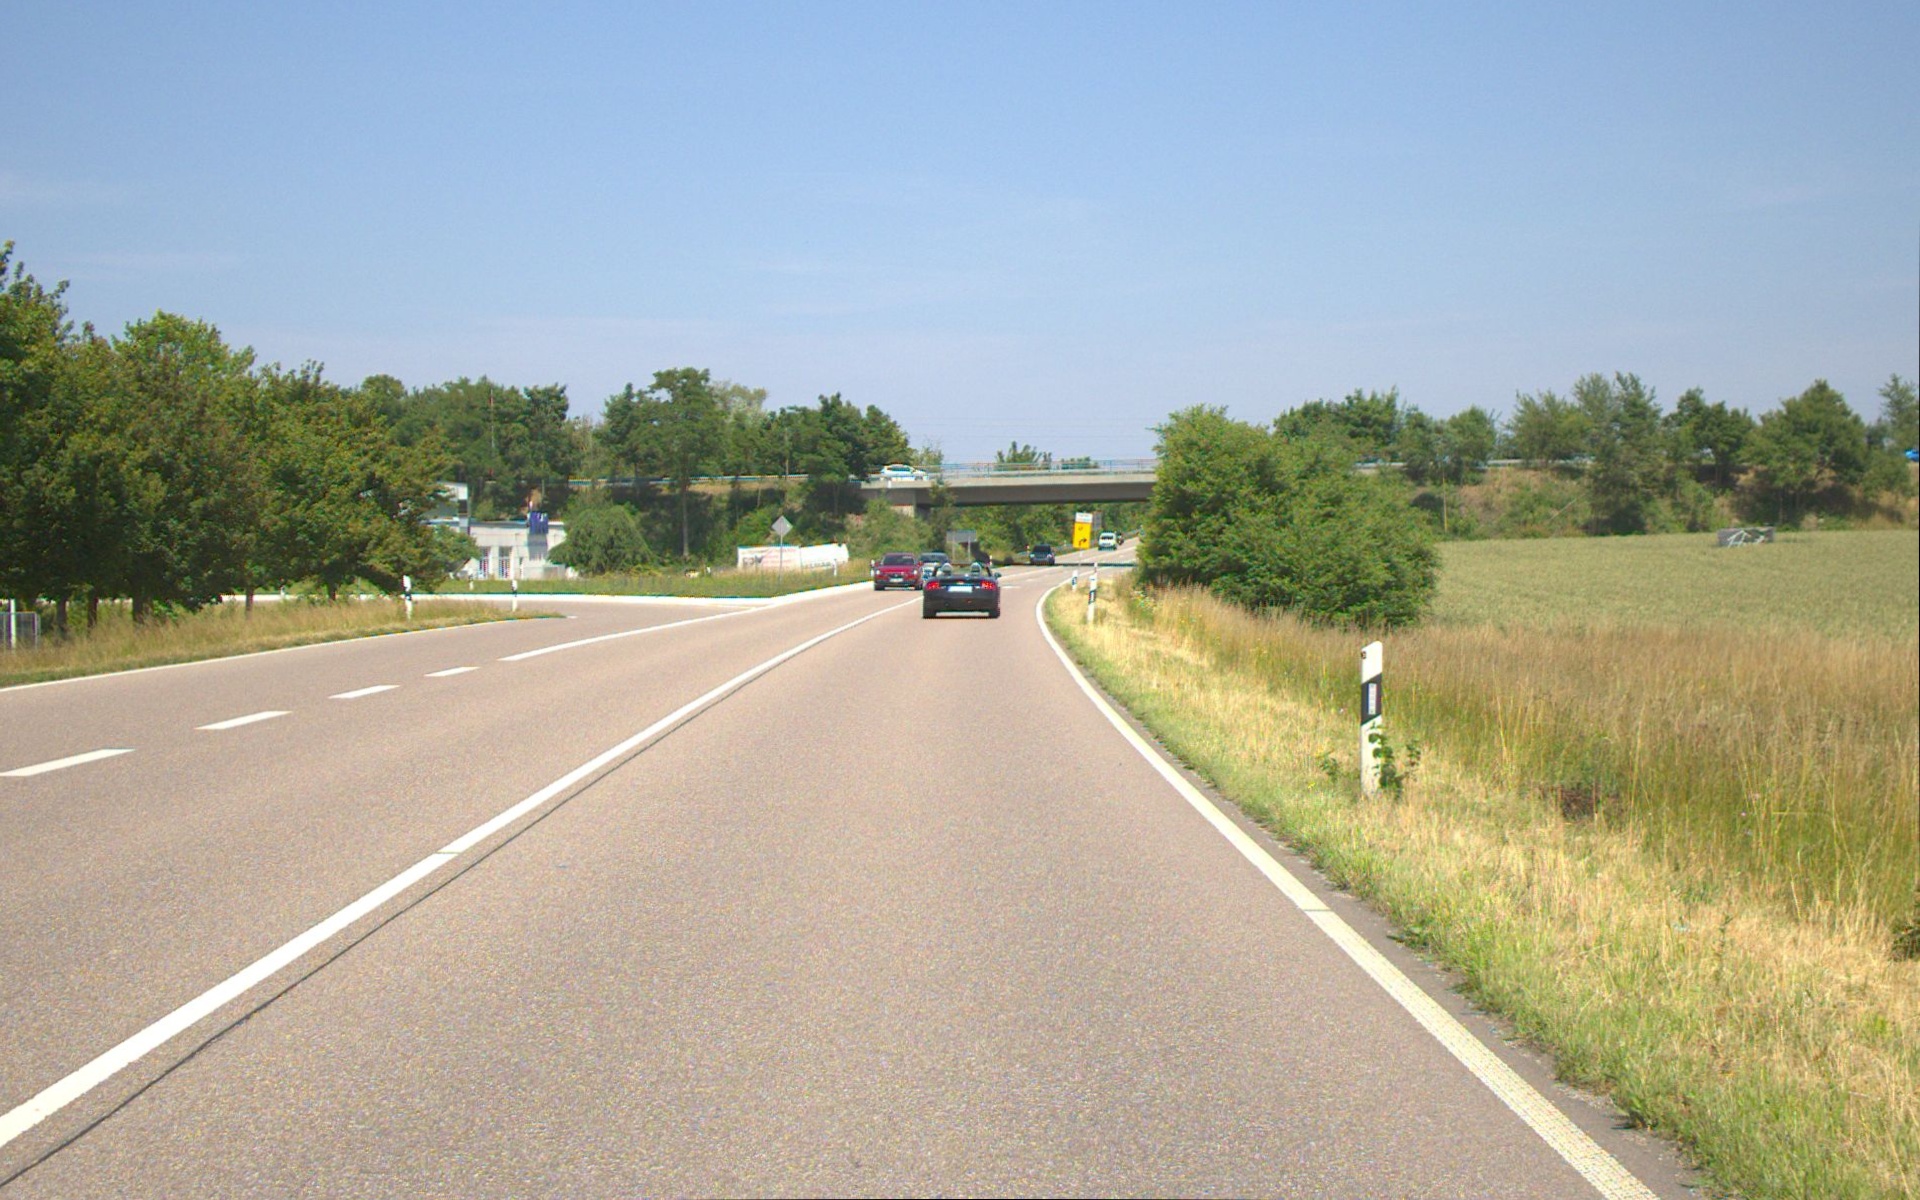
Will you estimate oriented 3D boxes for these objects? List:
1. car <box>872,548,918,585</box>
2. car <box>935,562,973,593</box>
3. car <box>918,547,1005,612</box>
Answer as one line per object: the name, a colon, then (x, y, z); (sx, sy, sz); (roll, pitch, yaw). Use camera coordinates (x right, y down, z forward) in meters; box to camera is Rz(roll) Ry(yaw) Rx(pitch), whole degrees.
car: (-2.517, -1.318, 134.240); (1.742, 1.407, 4.625); (1, 1, -1)
car: (-0.269, -1.074, 161.042); (1.731, 1.386, 4.491); (1, 1, 1)
car: (0.008, -0.483, 79.813); (1.814, 1.436, 4.000); (1, 1, -2)
